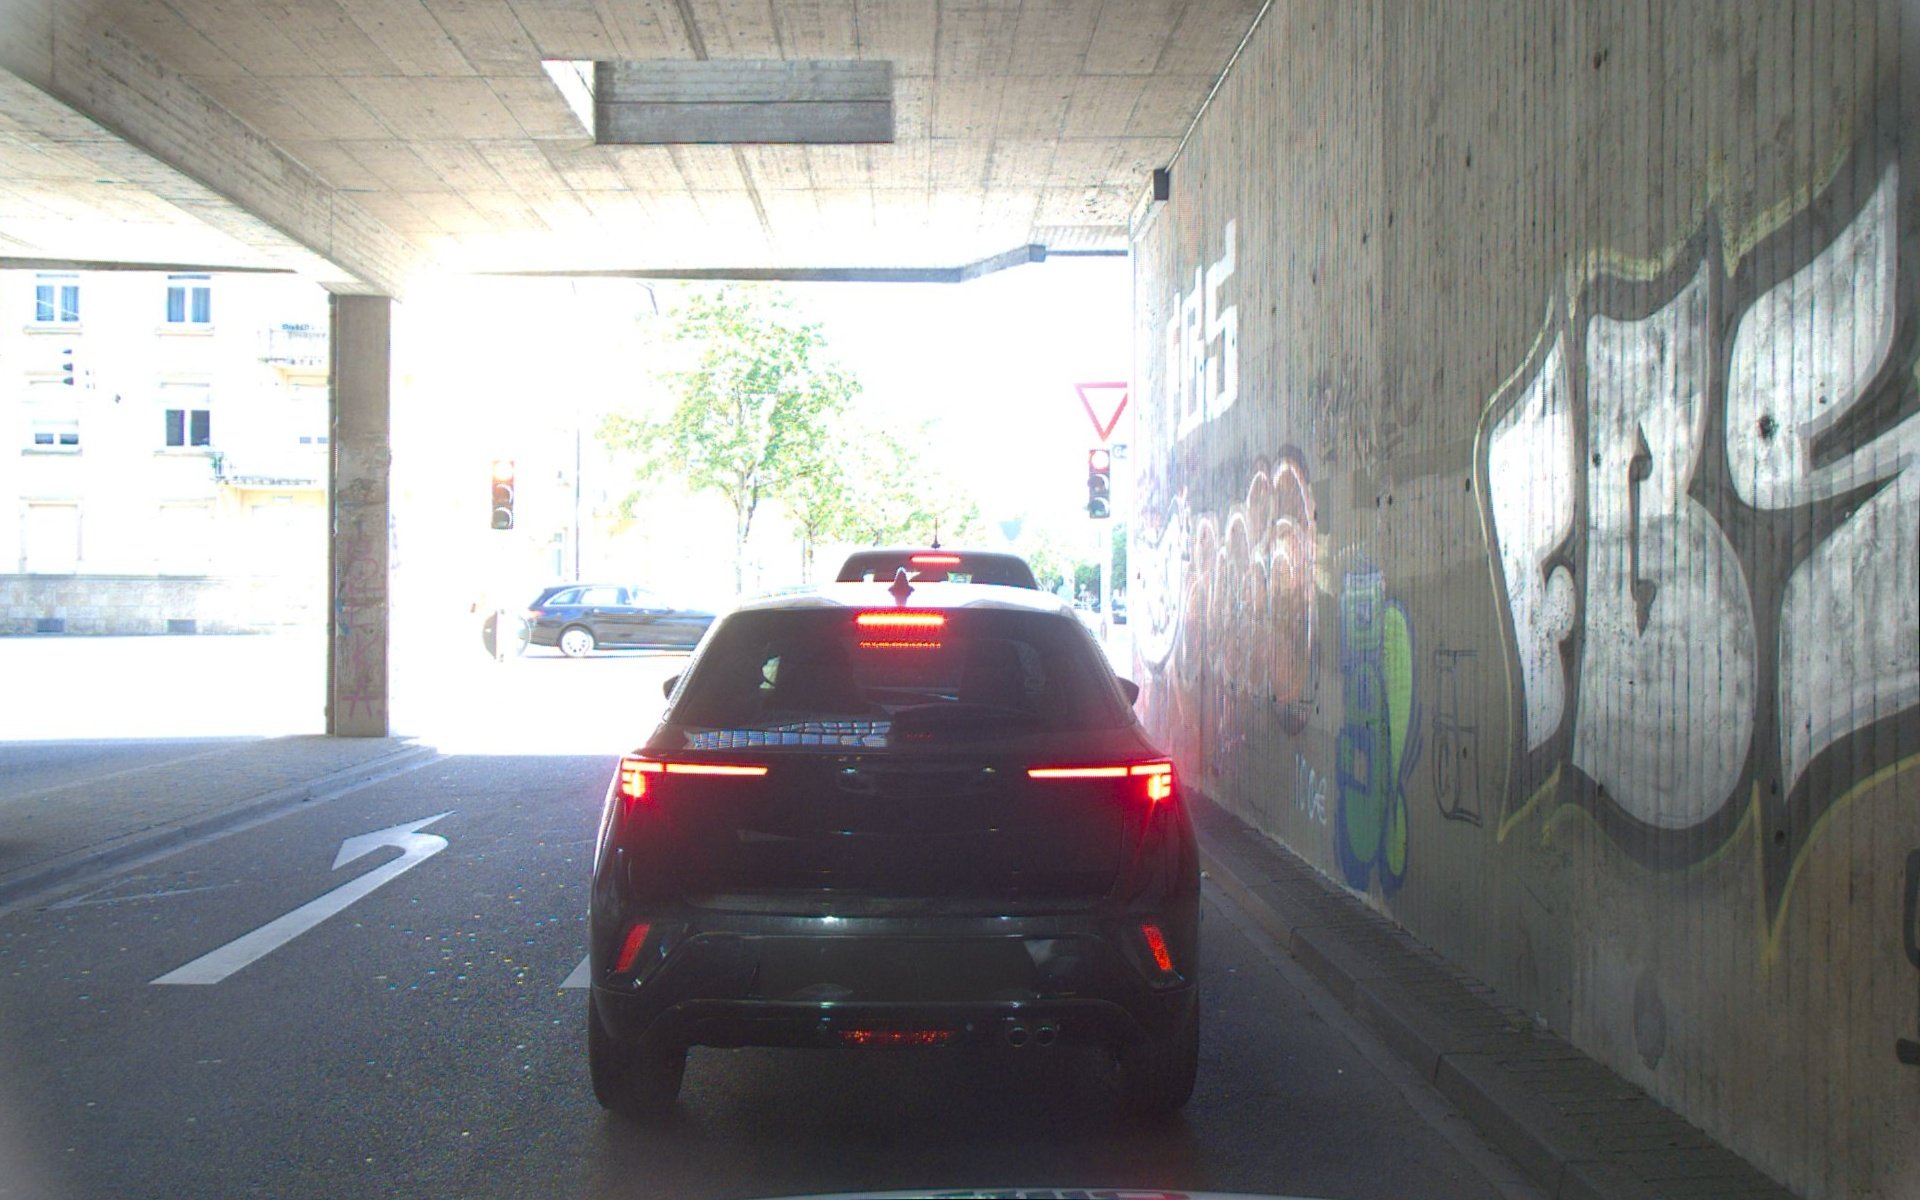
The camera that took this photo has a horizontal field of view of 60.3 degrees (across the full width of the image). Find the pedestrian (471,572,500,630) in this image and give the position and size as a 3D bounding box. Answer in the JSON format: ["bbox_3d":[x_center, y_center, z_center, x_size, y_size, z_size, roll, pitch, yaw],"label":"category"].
[{"bbox_3d":[-14.503,0.039,50.541,0.610,1.734,0.723,1,-1,2],"label":"pedestrian"}]

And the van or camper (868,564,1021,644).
[{"bbox_3d":[-0.373,0.091,43.402,3.795,2.049,2.002,0,0,7],"label":"van or camper"}]

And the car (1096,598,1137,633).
[{"bbox_3d":[7.771,0.741,82.122,1.951,1.670,4.596,0,0,5],"label":"car"}]

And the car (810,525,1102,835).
[{"bbox_3d":[-0.047,0.477,12.036,1.749,1.865,3.960,1,0,-1],"label":"car"}]

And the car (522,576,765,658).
[{"bbox_3d":[-6.355,0.320,33.052,4.641,1.561,1.992,0,0,-16],"label":"car"}]

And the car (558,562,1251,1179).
[{"bbox_3d":[-0.153,0.672,6.163,1.718,1.525,4.000,1,0,-1],"label":"car"}]

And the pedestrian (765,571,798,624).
[{"bbox_3d":[-5.541,-0.087,51.307,0.720,1.612,0.891,1,-1,15],"label":"pedestrian"}]

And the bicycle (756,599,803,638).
[{"bbox_3d":[-5.567,0.559,51.222,0.721,1.150,2.027,0,0,16],"label":"bicycle"}]
